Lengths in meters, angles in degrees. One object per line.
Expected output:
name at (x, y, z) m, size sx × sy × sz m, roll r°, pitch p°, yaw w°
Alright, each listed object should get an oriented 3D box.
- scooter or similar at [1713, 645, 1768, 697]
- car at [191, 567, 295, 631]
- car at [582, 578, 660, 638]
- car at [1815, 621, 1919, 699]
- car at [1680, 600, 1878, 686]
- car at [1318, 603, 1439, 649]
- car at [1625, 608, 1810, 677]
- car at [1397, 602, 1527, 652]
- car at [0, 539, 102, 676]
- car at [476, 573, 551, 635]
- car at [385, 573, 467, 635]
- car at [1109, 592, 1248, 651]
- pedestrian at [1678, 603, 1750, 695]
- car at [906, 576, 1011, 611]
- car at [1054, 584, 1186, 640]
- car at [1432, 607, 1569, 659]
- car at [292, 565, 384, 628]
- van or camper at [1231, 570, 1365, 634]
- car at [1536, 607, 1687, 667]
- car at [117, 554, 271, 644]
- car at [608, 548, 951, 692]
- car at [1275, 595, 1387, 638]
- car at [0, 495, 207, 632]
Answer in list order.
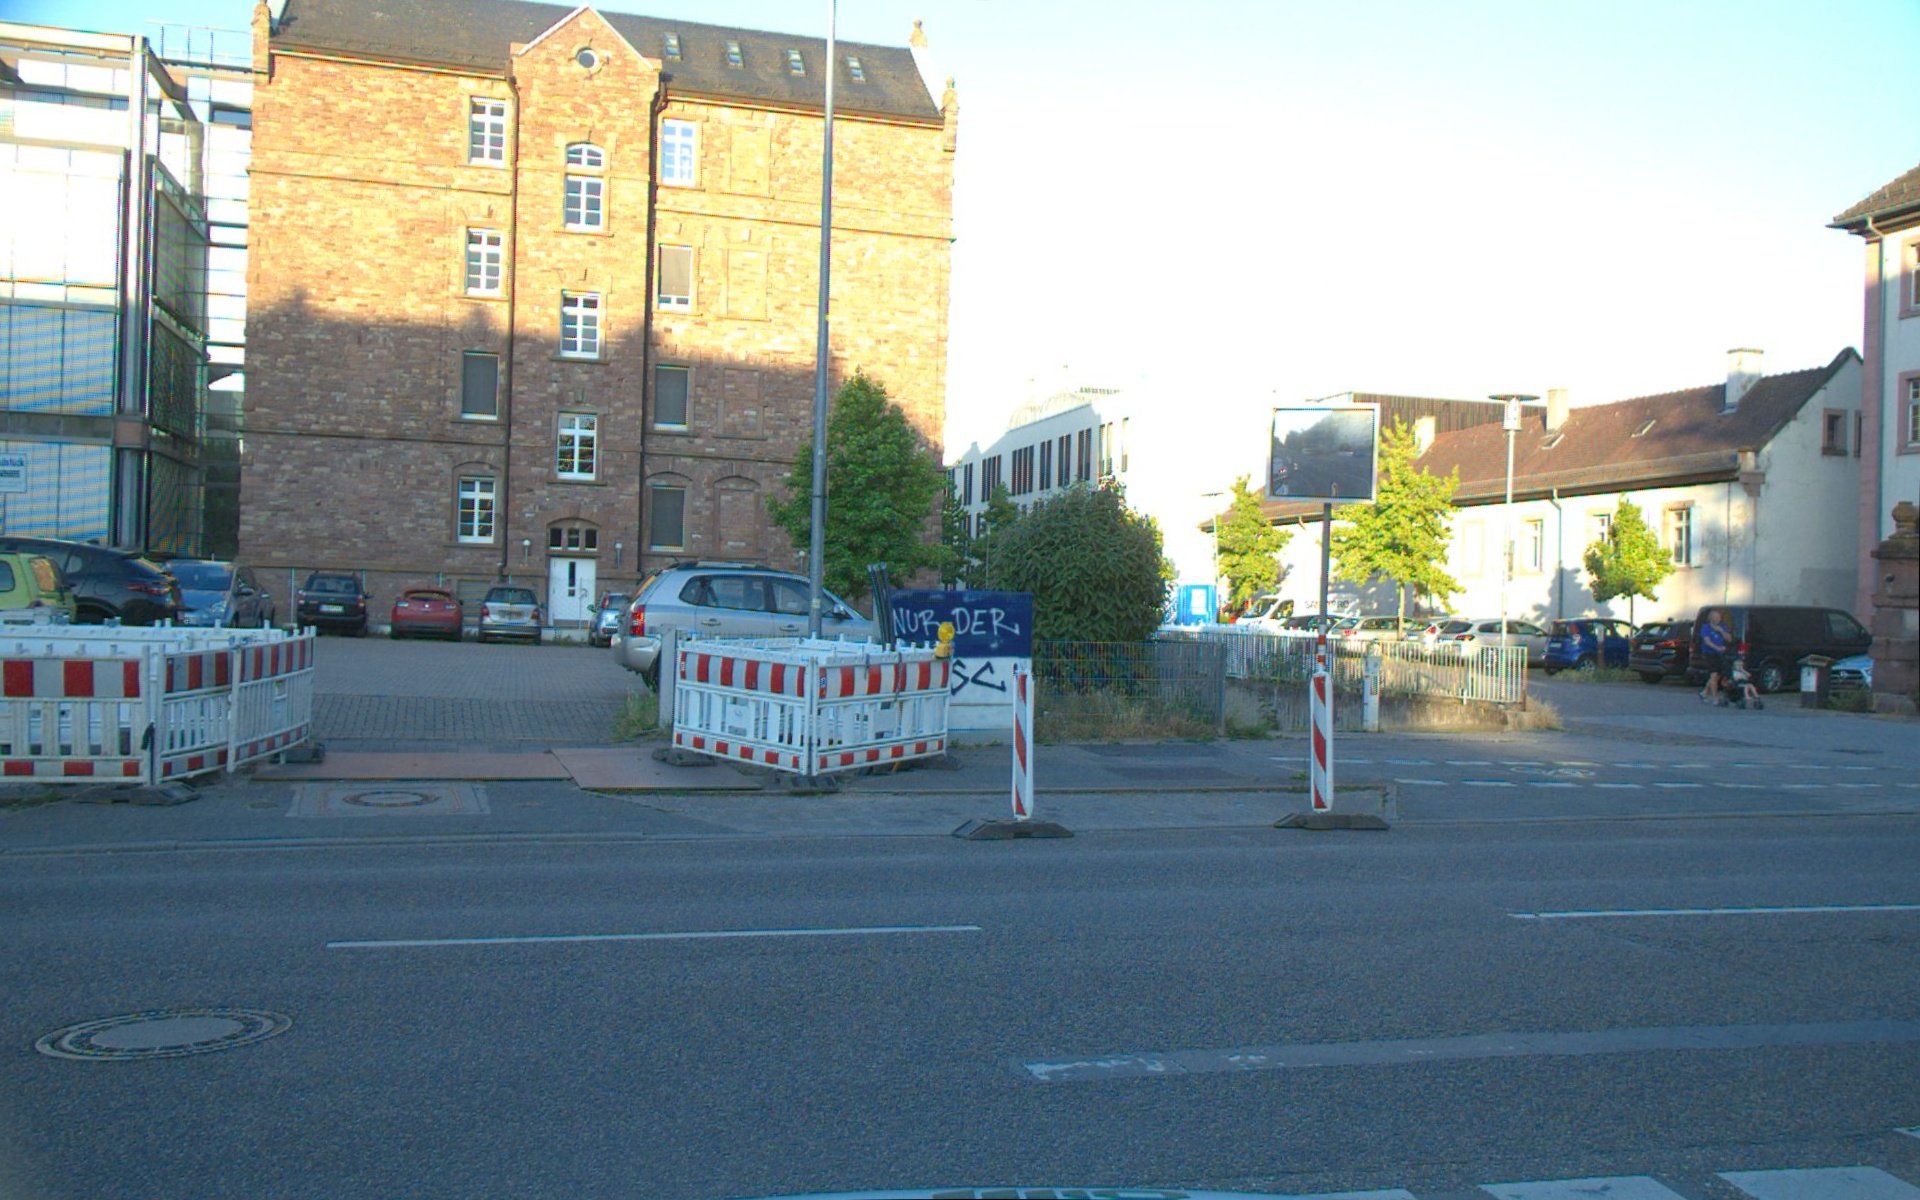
scooter or similar at (14.196, 1.284, 30.092) m, size 0.505 × 0.906 × 0.803 m, roll 1°, pitch 0°, yaw -15°
car at (-18.839, -0.058, 43.626) m, size 1.865 × 1.564 × 4.162 m, roll 1°, pitch 0°, yaw -15°
car at (-9.507, 0.203, 46.226) m, size 1.865 × 1.564 × 4.162 m, roll 1°, pitch 0°, yaw -15°
car at (19.906, 1.239, 34.006) m, size 3.927 × 1.484 × 1.989 m, roll 1°, pitch 0°, yaw -19°
car at (19.125, 0.999, 38.649) m, size 3.927 × 1.891 × 1.989 m, roll 1°, pitch 0°, yaw -19°
car at (14.272, 0.897, 56.377) m, size 3.684 × 1.471 × 1.677 m, roll 1°, pitch 0°, yaw -19°
car at (18.899, 1.053, 41.280) m, size 3.927 × 1.600 × 1.989 m, roll 1°, pitch 0°, yaw -19°
car at (15.994, 0.862, 52.695) m, size 3.684 × 1.471 × 1.677 m, roll 1°, pitch 0°, yaw -19°
car at (-12.060, 0.050, 19.011) m, size 3.570 × 1.530 × 1.631 m, roll 1°, pitch 0°, yaw -14°
car at (-12.187, 0.077, 45.220) m, size 1.865 × 1.564 × 4.162 m, roll 1°, pitch 0°, yaw -15°
car at (-14.369, 0.078, 44.692) m, size 1.865 × 1.564 × 4.162 m, roll 1°, pitch 0°, yaw -15°
car at (6.398, 0.617, 48.427) m, size 3.684 × 1.631 × 1.677 m, roll 1°, pitch 0°, yaw -19°
pedestrian at (14.139, 0.906, 31.019) m, size 0.737 × 1.671 × 1.010 m, roll 1°, pitch 0°, yaw -15°
car at (-0.078, -0.260, 67.260) m, size 3.923 × 1.336 × 1.869 m, roll 1°, pitch 0°, yaw -17°
car at (4.930, 0.372, 51.107) m, size 3.684 × 1.631 × 1.677 m, roll 1°, pitch 0°, yaw -19°
car at (16.363, 0.984, 50.074) m, size 3.684 × 1.471 × 1.677 m, roll 1°, pitch 0°, yaw -19°
car at (-16.667, -0.109, 44.458) m, size 1.865 × 1.564 × 4.162 m, roll 1°, pitch 0°, yaw -15°
van or camper at (13.023, 0.087, 63.654) m, size 4.887 × 2.280 × 1.677 m, roll 1°, pitch 0°, yaw -19°
car at (17.942, 1.017, 45.573) m, size 3.684 × 1.555 × 1.677 m, roll 1°, pitch 0°, yaw -19°
car at (-14.876, -0.038, 32.338) m, size 1.960 × 1.603 × 4.347 m, roll 1°, pitch 0°, yaw -15°
car at (-2.375, 0.268, 21.569) m, size 4.201 × 1.738 × 1.695 m, roll 1°, pitch 0°, yaw -17°
car at (13.545, 0.607, 60.382) m, size 3.684 × 1.471 × 1.677 m, roll 1°, pitch 0°, yaw -19°
car at (-12.311, -0.479, 21.297) m, size 4.506 × 1.666 × 1.569 m, roll 1°, pitch 0°, yaw -15°
